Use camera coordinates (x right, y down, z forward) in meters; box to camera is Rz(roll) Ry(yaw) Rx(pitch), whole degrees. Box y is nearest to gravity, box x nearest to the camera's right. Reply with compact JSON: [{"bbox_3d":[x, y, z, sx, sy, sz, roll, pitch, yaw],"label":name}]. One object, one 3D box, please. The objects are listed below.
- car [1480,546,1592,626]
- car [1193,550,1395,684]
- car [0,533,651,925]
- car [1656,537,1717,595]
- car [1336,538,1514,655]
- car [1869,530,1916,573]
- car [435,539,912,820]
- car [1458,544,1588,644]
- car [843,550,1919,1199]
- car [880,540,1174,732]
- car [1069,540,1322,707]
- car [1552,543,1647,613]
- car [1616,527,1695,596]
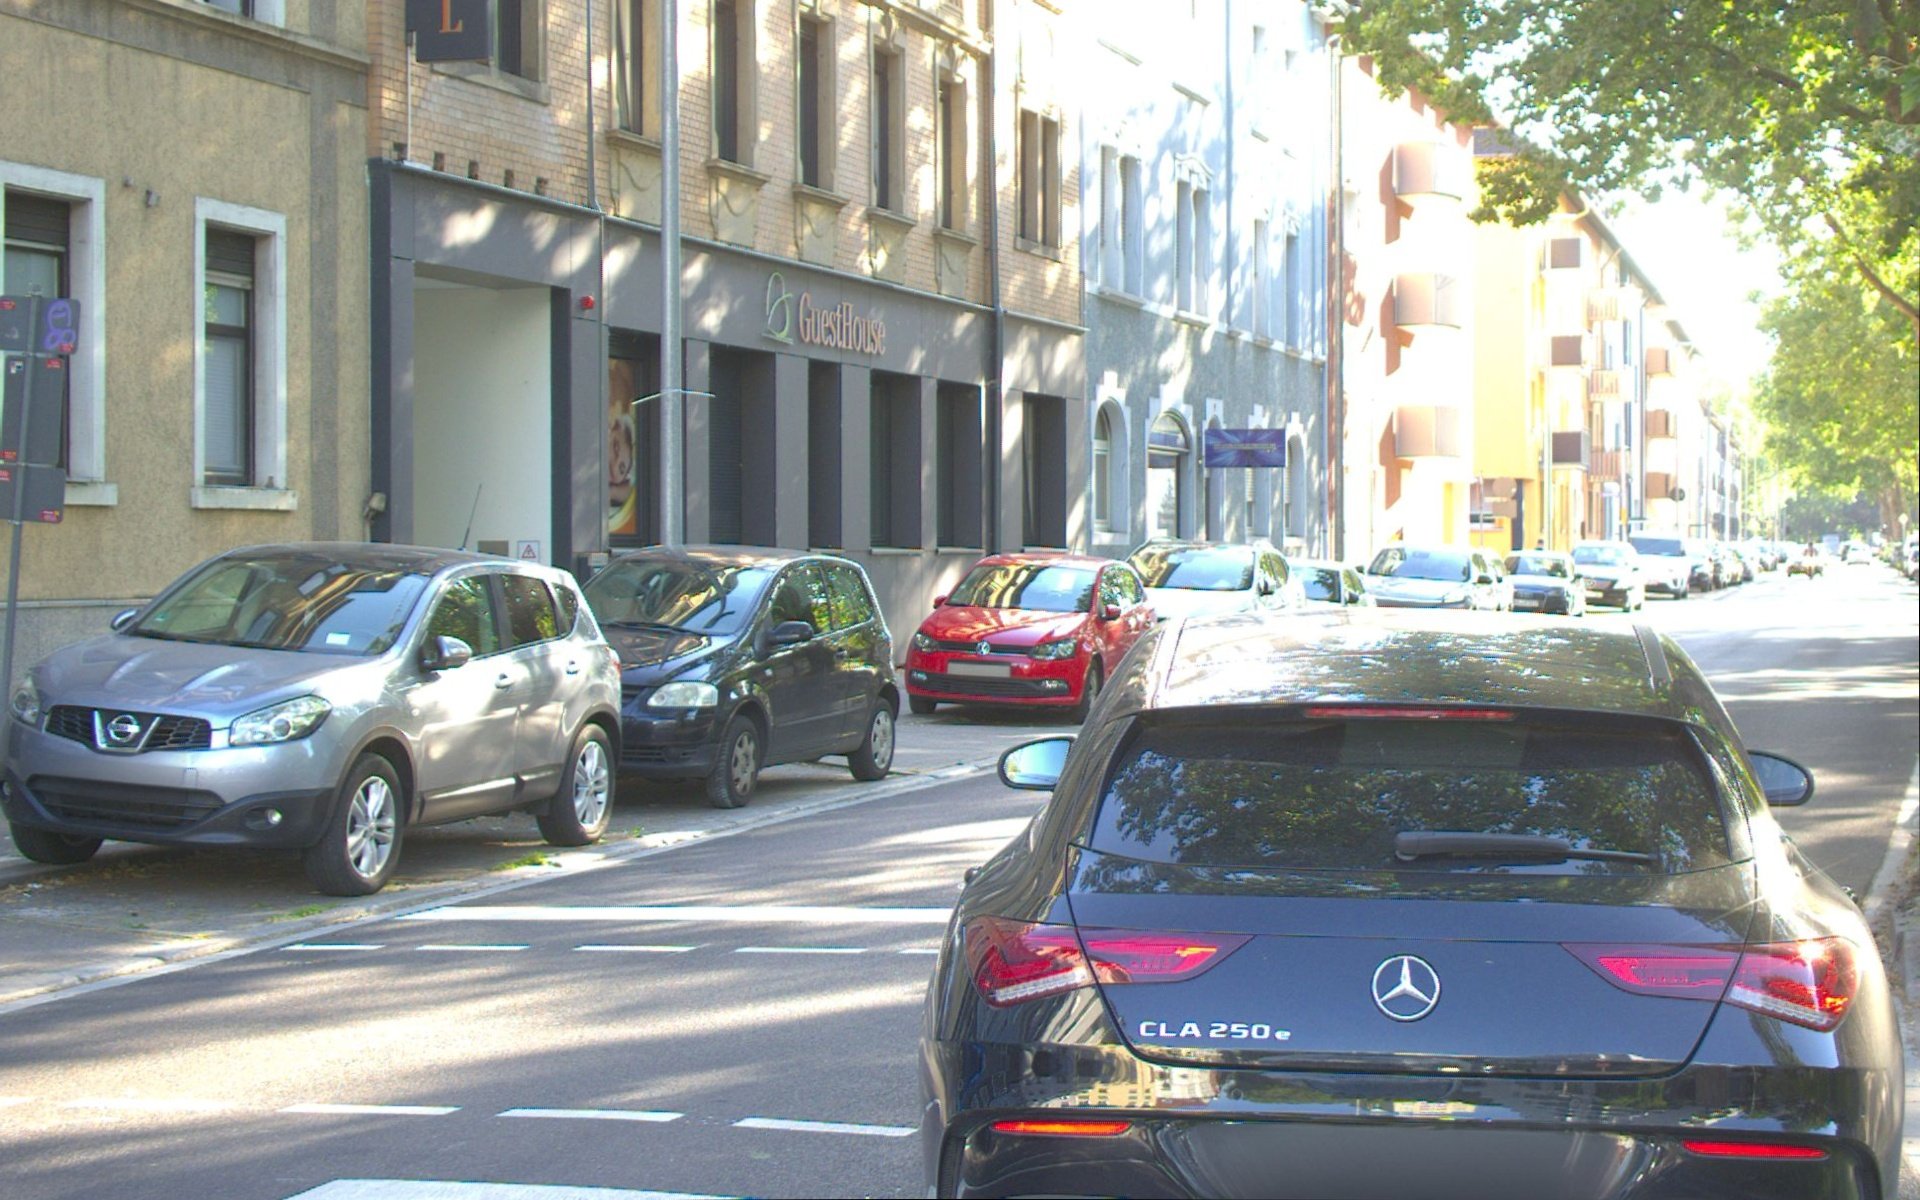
[{"bbox_3d":[11.355,-0.299,67.595,1.679,1.481,3.598,2,2,17],"label":"car"},{"bbox_3d":[4.127,0.169,42.016,1.679,1.491,3.868,2,2,17],"label":"car"},{"bbox_3d":[-3.183,0.525,17.280,1.783,1.667,4.153,2,2,17],"label":"car"},{"bbox_3d":[23.809,-1.129,112.541,1.746,1.781,4.546,2,2,14],"label":"car"},{"bbox_3d":[7.084,-0.092,51.988,1.909,1.636,4.573,2,2,17],"label":"car"},{"bbox_3d":[46.676,-2.416,172.185,1.994,2.007,3.998,1,0,12],"label":"car"},{"bbox_3d":[-1.740,0.430,22.106,1.679,1.599,3.702,2,2,19],"label":"car"},{"bbox_3d":[9.890,-0.143,60.226,1.679,1.636,3.981,2,2,17],"label":"car"},{"bbox_3d":[0.856,0.651,7.538,1.744,1.438,3.968,2,1,5],"label":"car"},{"bbox_3d":[0.674,0.271,31.243,1.679,1.586,3.753,2,2,17],"label":"car"},{"bbox_3d":[2.518,0.191,35.830,1.679,1.579,4.196,2,2,17],"label":"car"},{"bbox_3d":[14.907,-0.530,80.020,1.679,1.518,4.018,2,2,17],"label":"car"},{"bbox_3d":[20.214,-1.137,99.776,1.735,1.900,5.204,1,1,17],"label":"car"}]
